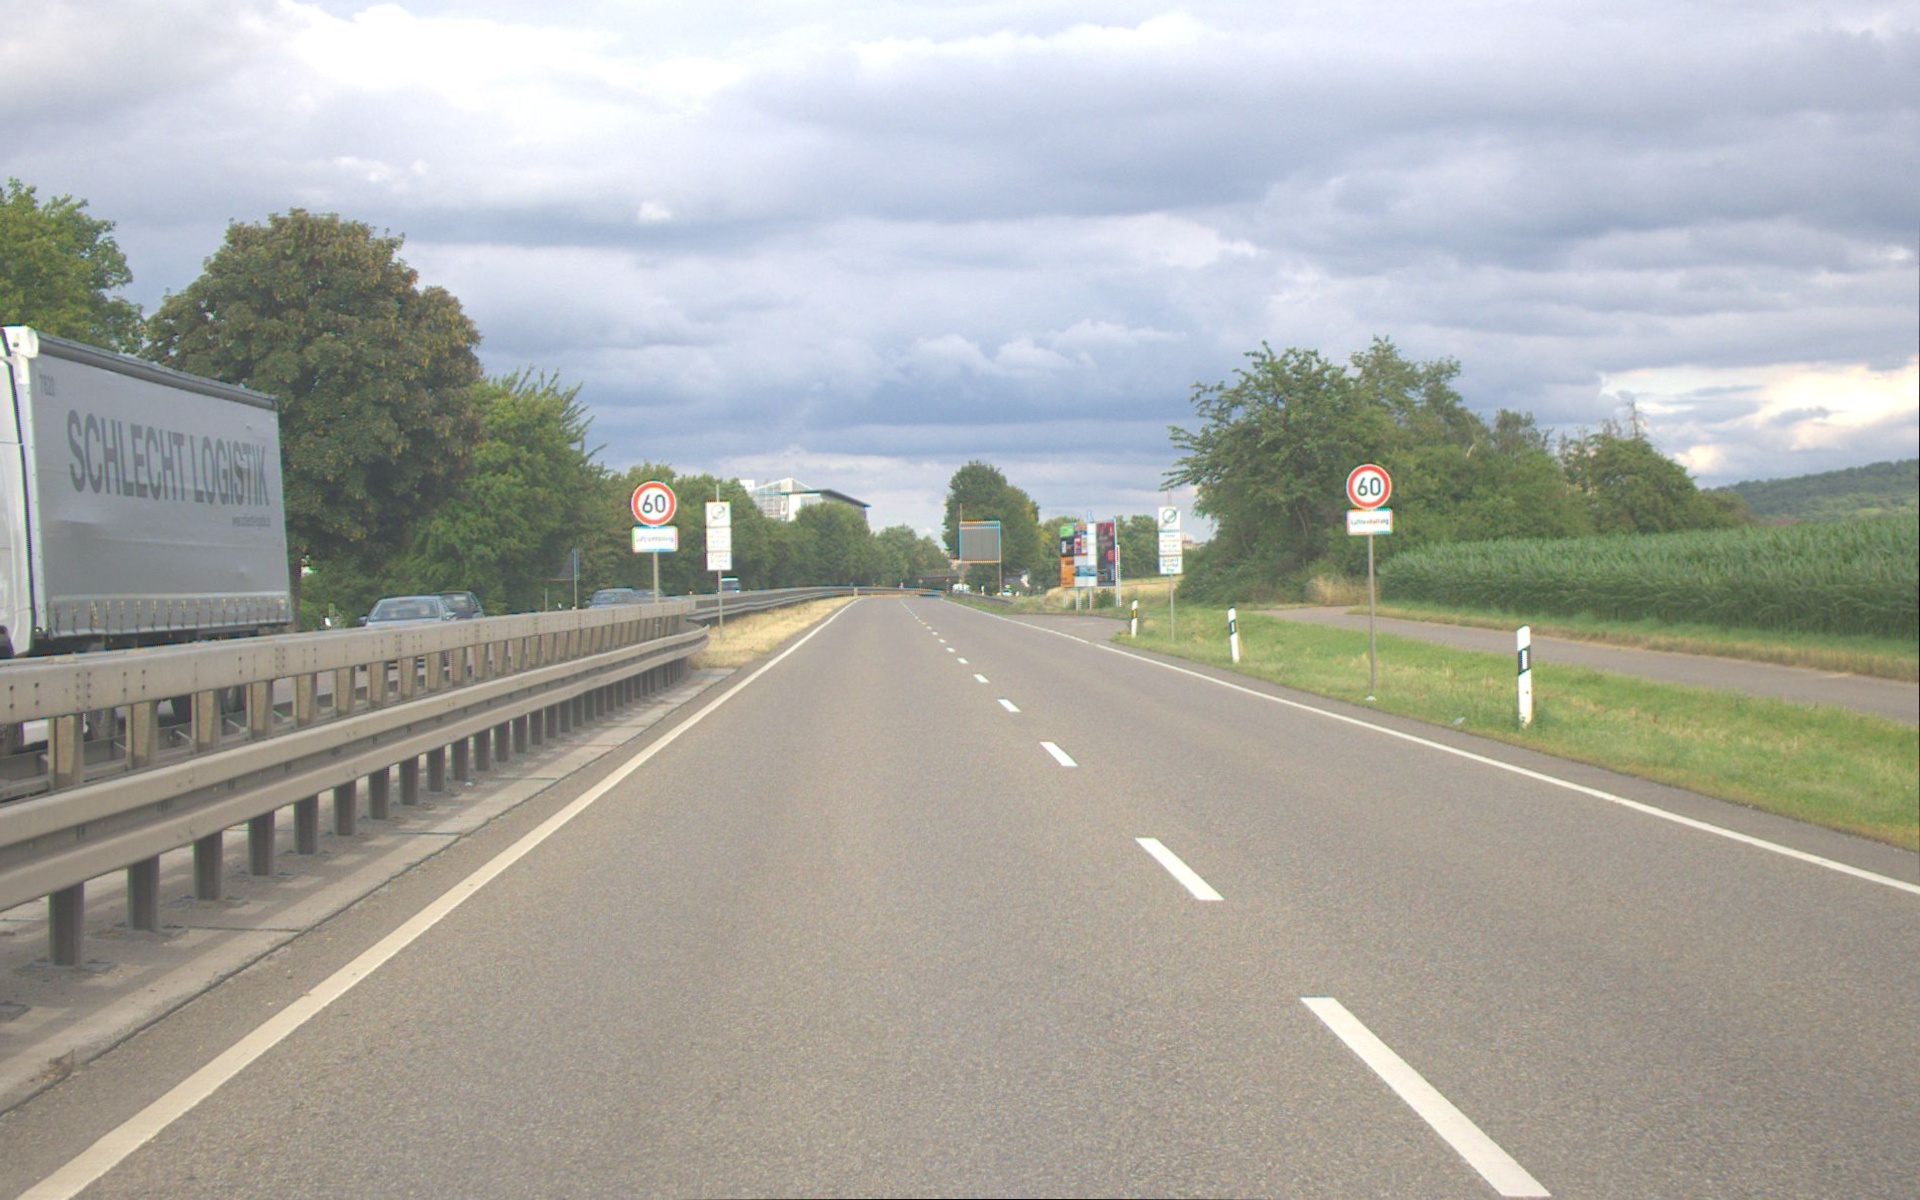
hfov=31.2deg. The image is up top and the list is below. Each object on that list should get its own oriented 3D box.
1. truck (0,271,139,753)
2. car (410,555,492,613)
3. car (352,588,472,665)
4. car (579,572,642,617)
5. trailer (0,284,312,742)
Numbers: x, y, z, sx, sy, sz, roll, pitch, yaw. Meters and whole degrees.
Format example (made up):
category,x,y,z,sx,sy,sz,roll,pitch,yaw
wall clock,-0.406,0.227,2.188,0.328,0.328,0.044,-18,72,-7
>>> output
category,x,y,z,sx,sy,sz,roll,pitch,yaw
truck,-9.979,-0.712,31.254,3.474,4.136,6.050,-3,1,-1
car,-14.735,-0.479,99.663,1.789,1.568,4.161,-2,1,-1
car,-10.926,0.497,68.784,1.789,1.381,4.161,-2,1,-1
car,-12.533,-0.213,123.478,1.866,1.472,4.826,-2,1,-1
trailer,-10.200,-0.799,38.145,3.465,4.136,13.917,-3,1,-1
